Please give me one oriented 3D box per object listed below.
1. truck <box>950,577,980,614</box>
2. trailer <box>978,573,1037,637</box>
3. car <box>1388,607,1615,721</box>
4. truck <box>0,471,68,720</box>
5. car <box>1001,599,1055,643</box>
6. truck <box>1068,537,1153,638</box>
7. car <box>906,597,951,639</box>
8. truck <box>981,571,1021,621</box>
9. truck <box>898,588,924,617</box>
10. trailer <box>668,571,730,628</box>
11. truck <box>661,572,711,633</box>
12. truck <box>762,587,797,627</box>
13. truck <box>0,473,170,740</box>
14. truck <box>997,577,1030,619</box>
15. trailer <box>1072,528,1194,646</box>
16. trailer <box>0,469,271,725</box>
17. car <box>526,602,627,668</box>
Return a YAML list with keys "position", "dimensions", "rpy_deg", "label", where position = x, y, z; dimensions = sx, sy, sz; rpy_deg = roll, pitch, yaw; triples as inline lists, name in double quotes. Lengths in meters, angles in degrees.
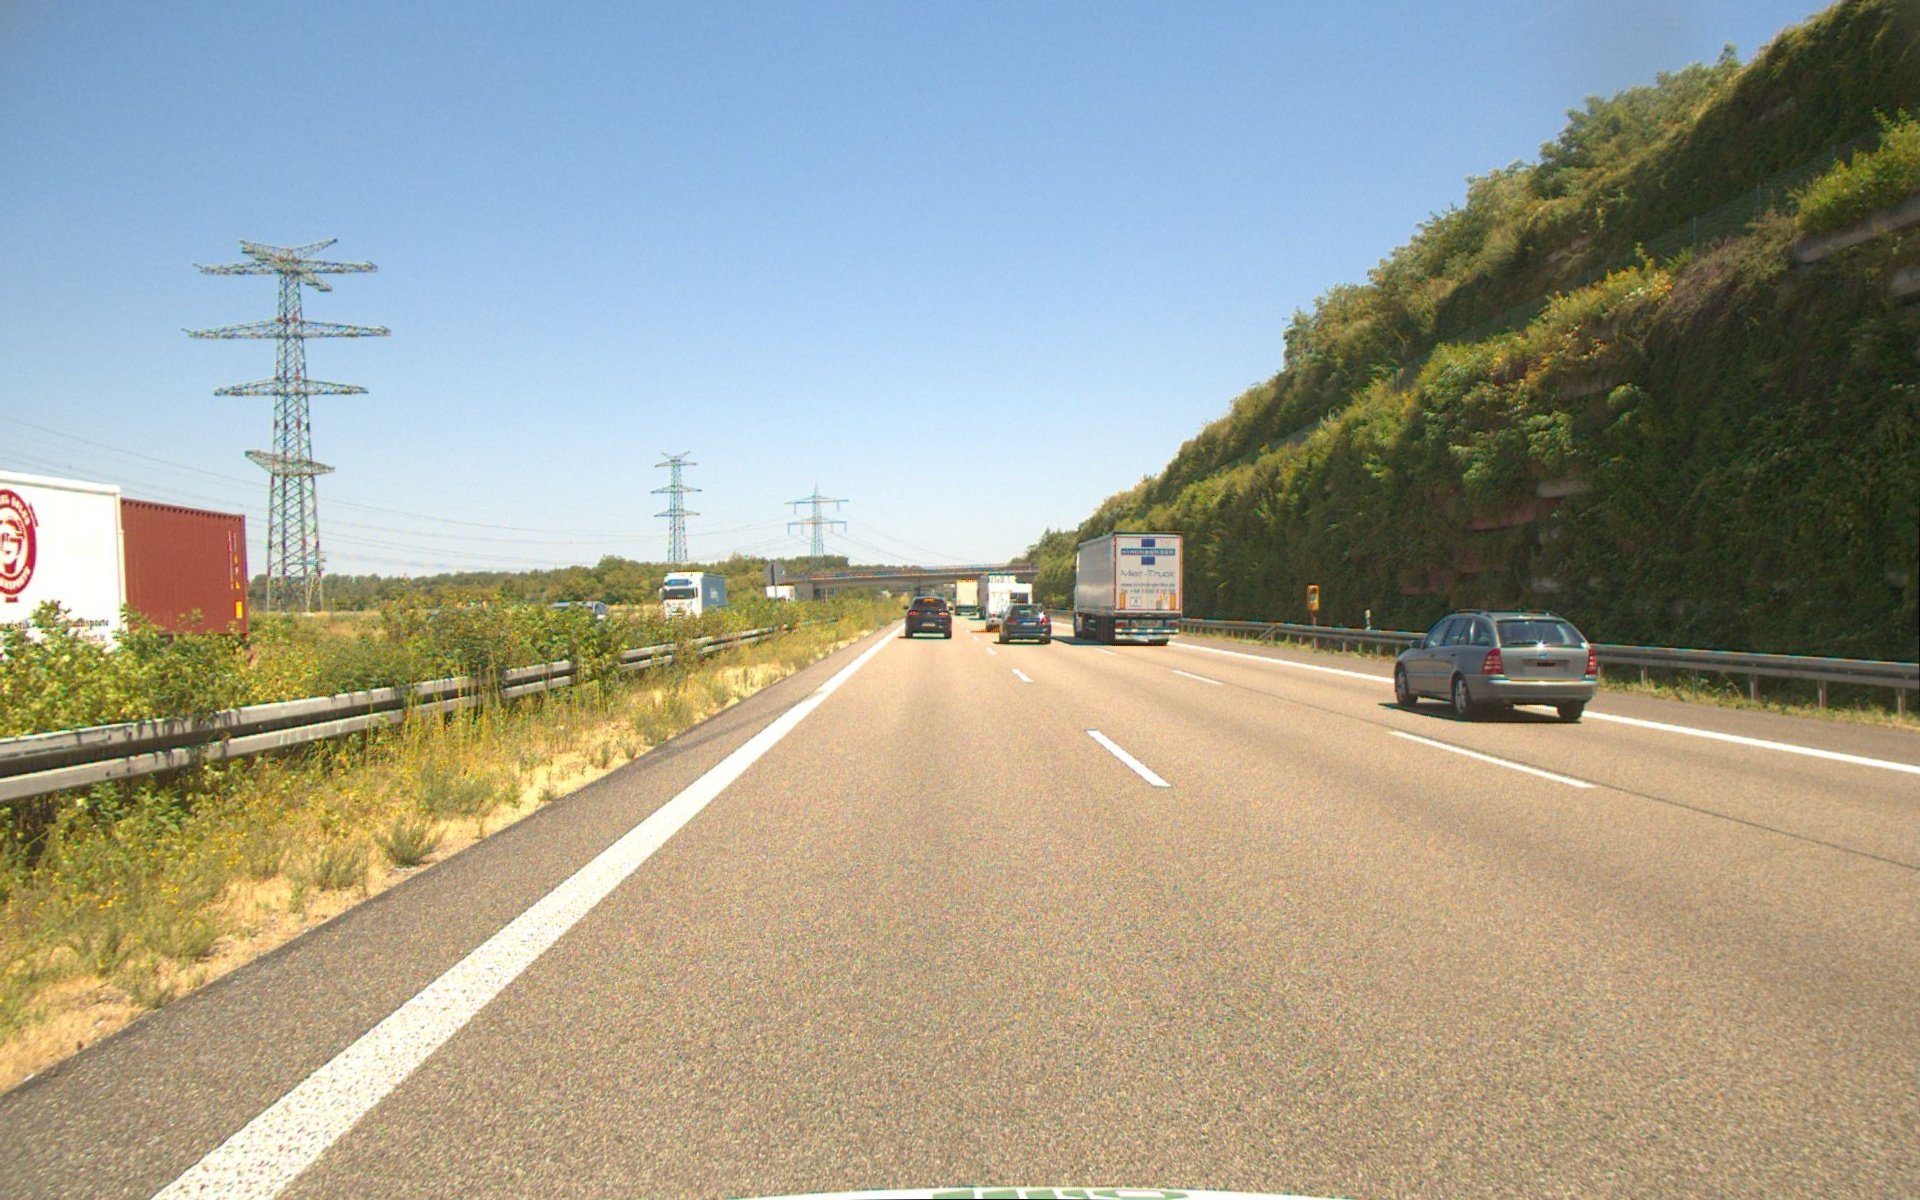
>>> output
- position: [0.576, -0.498, 200.841]
  dimensions: [3.340, 4.355, 10.604]
  rpy_deg: [-1, 0, -1]
  label: "truck"
- position: [2.503, 0.255, 89.558]
  dimensions: [2.558, 3.269, 9.949]
  rpy_deg: [-1, 0, -2]
  label: "trailer"
- position: [7.565, 0.832, 23.548]
  dimensions: [1.650, 1.453, 4.451]
  rpy_deg: [0, 0, -2]
  label: "car"
- position: [-17.895, -0.044, 27.058]
  dimensions: [3.148, 4.231, 6.437]
  rpy_deg: [-1, 0, -1]
  label: "truck"
- position: [2.535, 0.775, 62.386]
  dimensions: [1.792, 1.552, 3.999]
  rpy_deg: [-1, 0, -1]
  label: "car"
- position: [6.563, -0.526, 72.990]
  dimensions: [3.072, 4.214, 5.502]
  rpy_deg: [-1, 0, -1]
  label: "truck"
- position: [-1.358, 0.748, 70.268]
  dimensions: [1.793, 1.700, 3.999]
  rpy_deg: [-1, 0, -2]
  label: "car"
- position: [3.698, -0.380, 151.320]
  dimensions: [3.056, 4.355, 11.930]
  rpy_deg: [-1, 0, -1]
  label: "truck"
- position: [-7.385, 0.371, 249.430]
  dimensions: [3.882, 4.186, 9.949]
  rpy_deg: [-1, 0, -2]
  label: "truck"
- position: [-19.512, -0.045, 124.633]
  dimensions: [2.639, 4.006, 13.906]
  rpy_deg: [-1, 0, -1]
  label: "trailer"
- position: [-19.310, 0.186, 116.941]
  dimensions: [2.641, 4.140, 5.799]
  rpy_deg: [-1, 0, -1]
  label: "truck"
- position: [-19.931, 0.784, 183.064]
  dimensions: [2.815, 4.249, 10.566]
  rpy_deg: [-1, 0, -1]
  label: "truck"
- position: [-13.927, 0.136, 21.340]
  dimensions: [2.877, 3.472, 9.365]
  rpy_deg: [-2, 0, 0]
  label: "truck"
- position: [5.831, -0.204, 180.941]
  dimensions: [3.056, 4.355, 10.164]
  rpy_deg: [-1, 0, -1]
  label: "truck"
- position: [6.703, -0.462, 66.280]
  dimensions: [3.118, 4.193, 13.427]
  rpy_deg: [-1, 0, -1]
  label: "trailer"
- position: [-18.054, -0.050, 33.525]
  dimensions: [3.128, 4.381, 12.268]
  rpy_deg: [1, 0, -1]
  label: "trailer"
- position: [-10.334, 0.905, 44.922]
  dimensions: [1.798, 1.697, 4.585]
  rpy_deg: [-1, 0, -2]
  label: "car"
